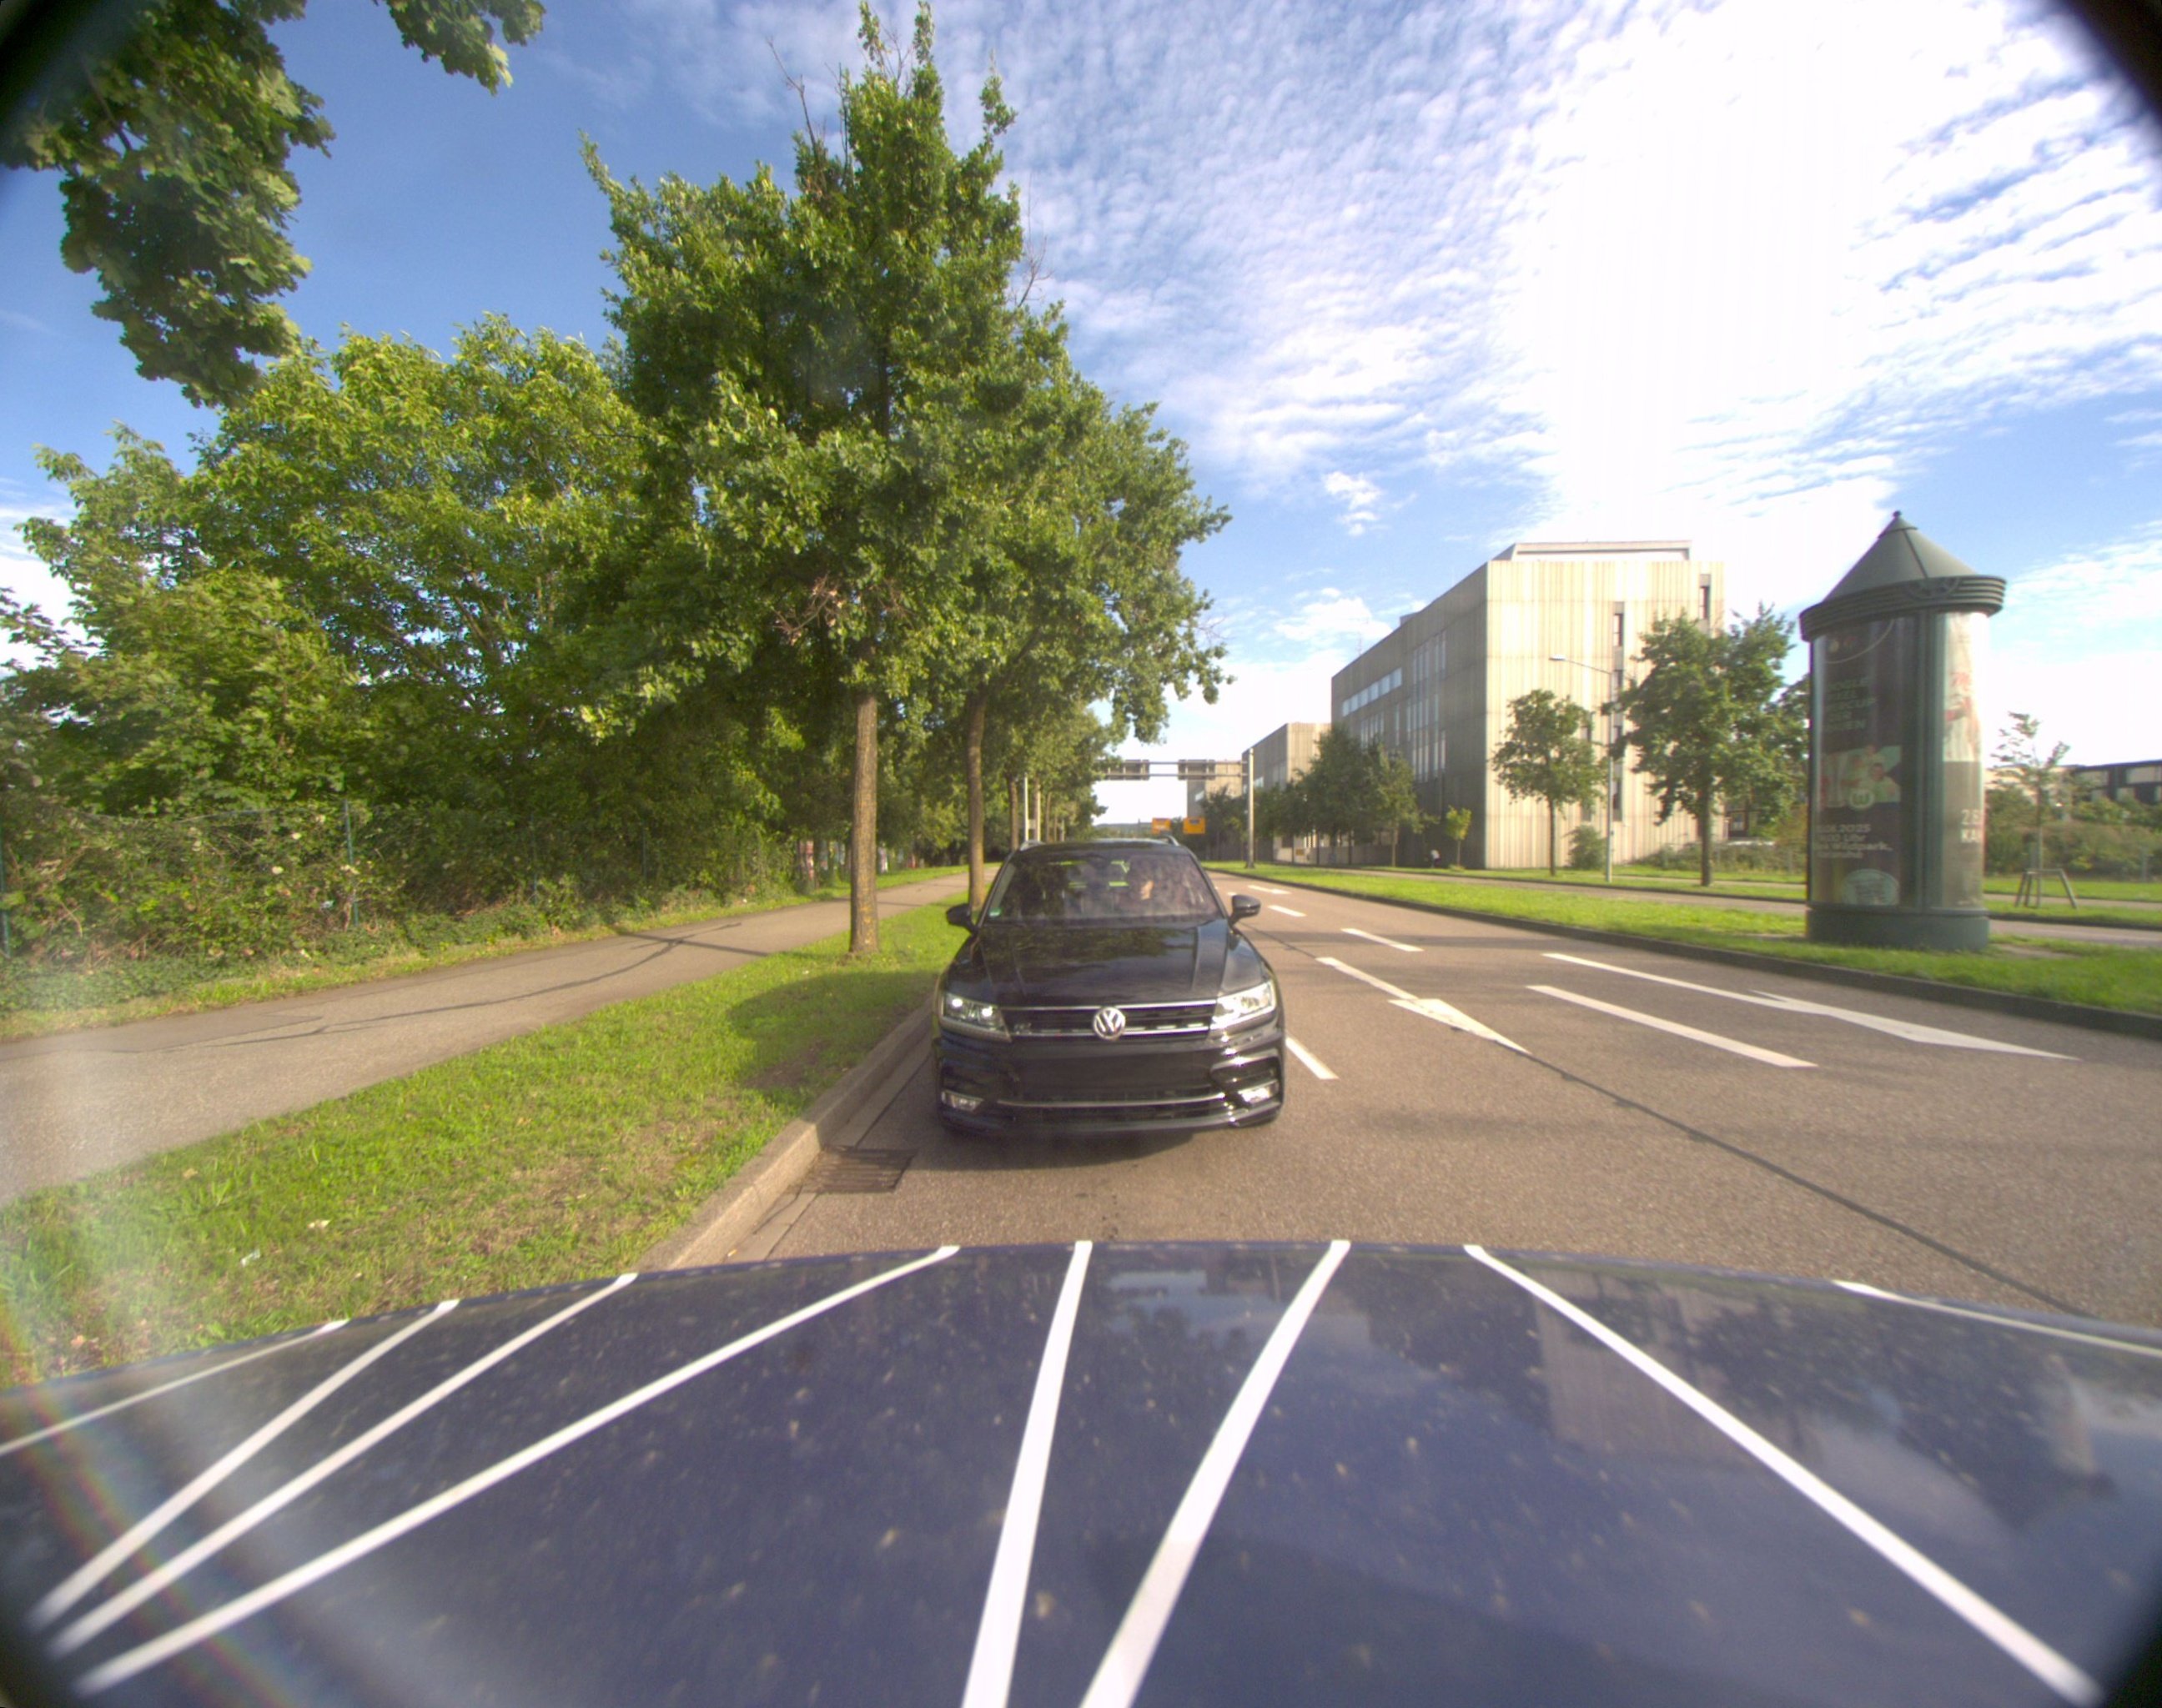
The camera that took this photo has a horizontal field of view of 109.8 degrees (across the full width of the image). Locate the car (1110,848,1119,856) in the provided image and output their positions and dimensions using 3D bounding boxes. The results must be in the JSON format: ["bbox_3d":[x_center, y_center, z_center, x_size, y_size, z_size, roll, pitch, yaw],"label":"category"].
[{"bbox_3d":[7.886,-0.514,177.907,1.998,2.002,4.000,0,0,0],"label":"car"}]

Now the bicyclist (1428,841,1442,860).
[{"bbox_3d":[28.490,-0.302,61.187,0.707,1.517,0.989,0,1,1],"label":"bicyclist"}]

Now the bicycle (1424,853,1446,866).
[{"bbox_3d":[28.486,0.425,61.243,0.897,0.975,1.911,0,0,1],"label":"bicycle"}]

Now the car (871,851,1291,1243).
[{"bbox_3d":[0.055,0.842,5.239,1.775,1.637,3.868,-2,1,2],"label":"car"}]

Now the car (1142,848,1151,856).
[{"bbox_3d":[17.763,-0.584,206.899,1.998,2.002,4.000,0,0,0],"label":"car"}]

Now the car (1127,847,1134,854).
[{"bbox_3d":[15.722,-1.056,239.772,1.998,2.002,3.983,0,0,0],"label":"car"}]

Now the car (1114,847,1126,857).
[{"bbox_3d":[6.053,-0.284,118.225,1.745,1.455,4.000,-1,1,3],"label":"car"}]

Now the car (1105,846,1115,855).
[{"bbox_3d":[5.429,-0.605,140.882,1.758,1.696,4.000,-1,0,0],"label":"car"}]
